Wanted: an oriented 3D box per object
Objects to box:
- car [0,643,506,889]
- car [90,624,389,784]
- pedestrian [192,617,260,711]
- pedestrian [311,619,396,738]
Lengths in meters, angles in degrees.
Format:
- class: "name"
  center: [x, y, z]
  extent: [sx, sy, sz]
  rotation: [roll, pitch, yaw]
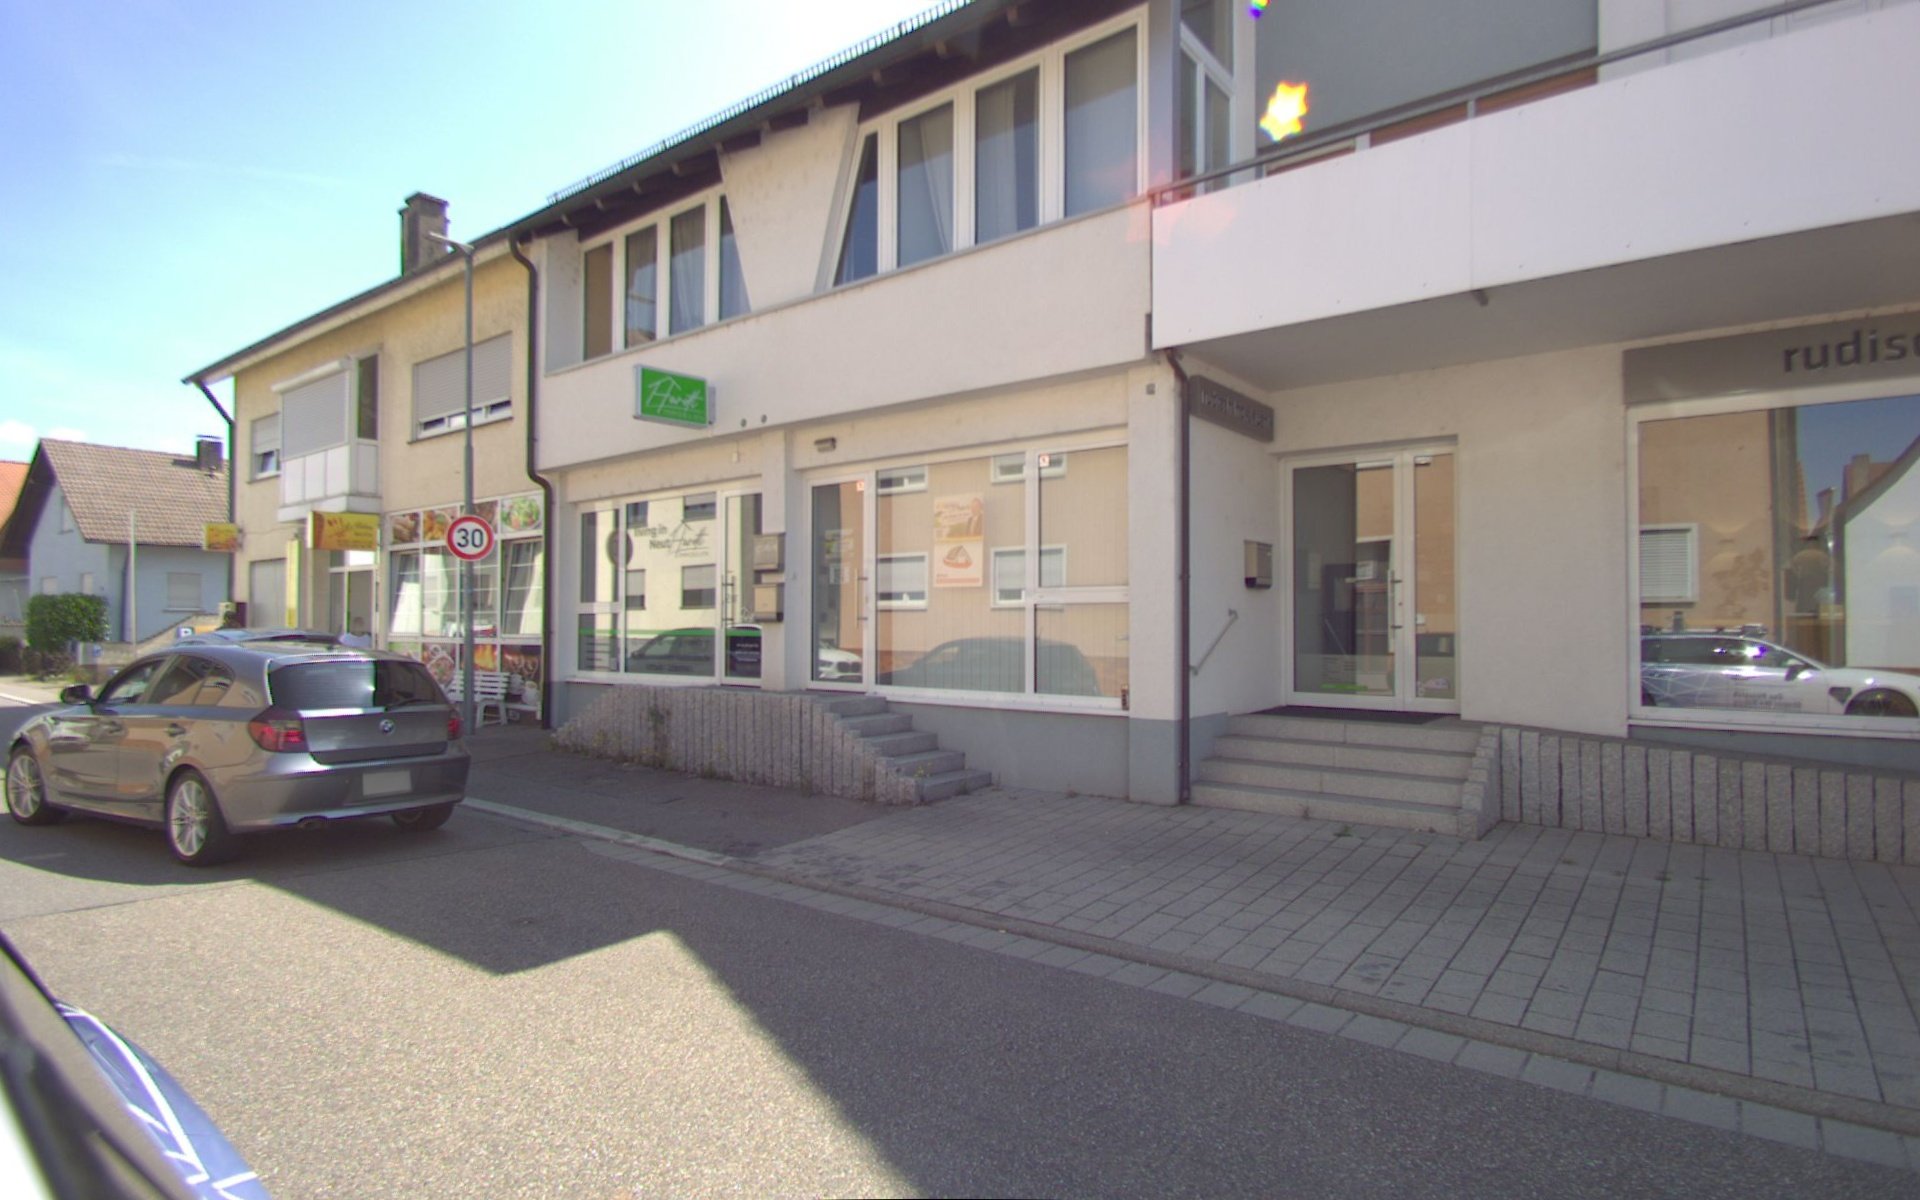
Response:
- class: "car"
  center: [-5.449, 1.051, 7.633]
  extent: [3.854, 1.408, 1.748]
  rotation: [-1, -4, 30]
- class: "car"
  center: [-8.718, 1.101, 12.142]
  extent: [3.992, 1.527, 1.728]
  rotation: [-1, 2, 36]
- class: "pedestrian"
  center: [-12.996, 1.107, 17.909]
  extent: [0.956, 1.595, 0.748]
  rotation: [-1, 0, 39]
- class: "pedestrian"
  center: [-8.586, 1.078, 14.335]
  extent: [0.956, 1.595, 0.748]
  rotation: [-1, 0, 39]
